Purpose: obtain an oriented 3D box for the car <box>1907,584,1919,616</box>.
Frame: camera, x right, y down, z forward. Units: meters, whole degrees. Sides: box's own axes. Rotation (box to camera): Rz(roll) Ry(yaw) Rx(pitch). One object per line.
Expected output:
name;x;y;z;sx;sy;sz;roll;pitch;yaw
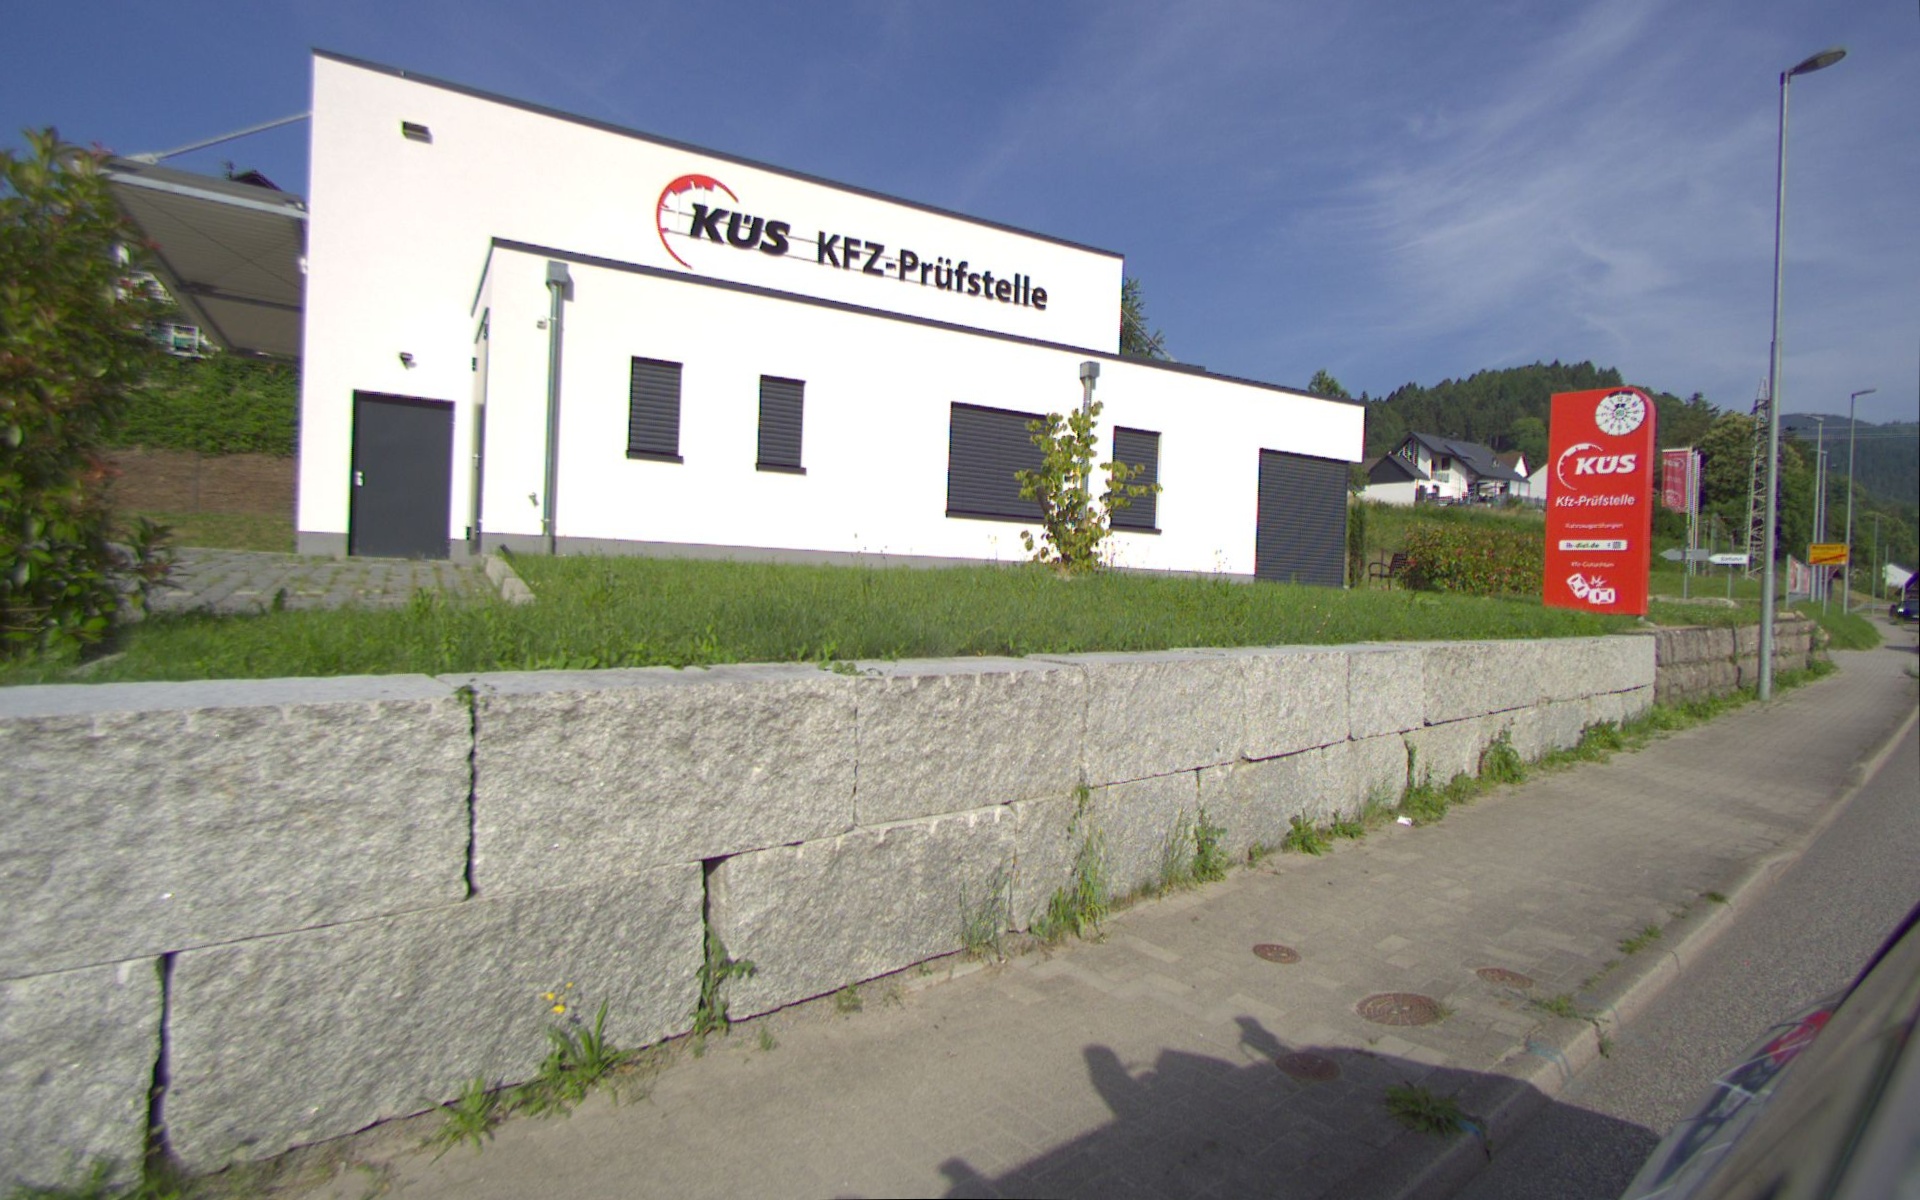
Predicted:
car;53.644;0.043;56.047;1.608;1.652;3.763;2;0;42
